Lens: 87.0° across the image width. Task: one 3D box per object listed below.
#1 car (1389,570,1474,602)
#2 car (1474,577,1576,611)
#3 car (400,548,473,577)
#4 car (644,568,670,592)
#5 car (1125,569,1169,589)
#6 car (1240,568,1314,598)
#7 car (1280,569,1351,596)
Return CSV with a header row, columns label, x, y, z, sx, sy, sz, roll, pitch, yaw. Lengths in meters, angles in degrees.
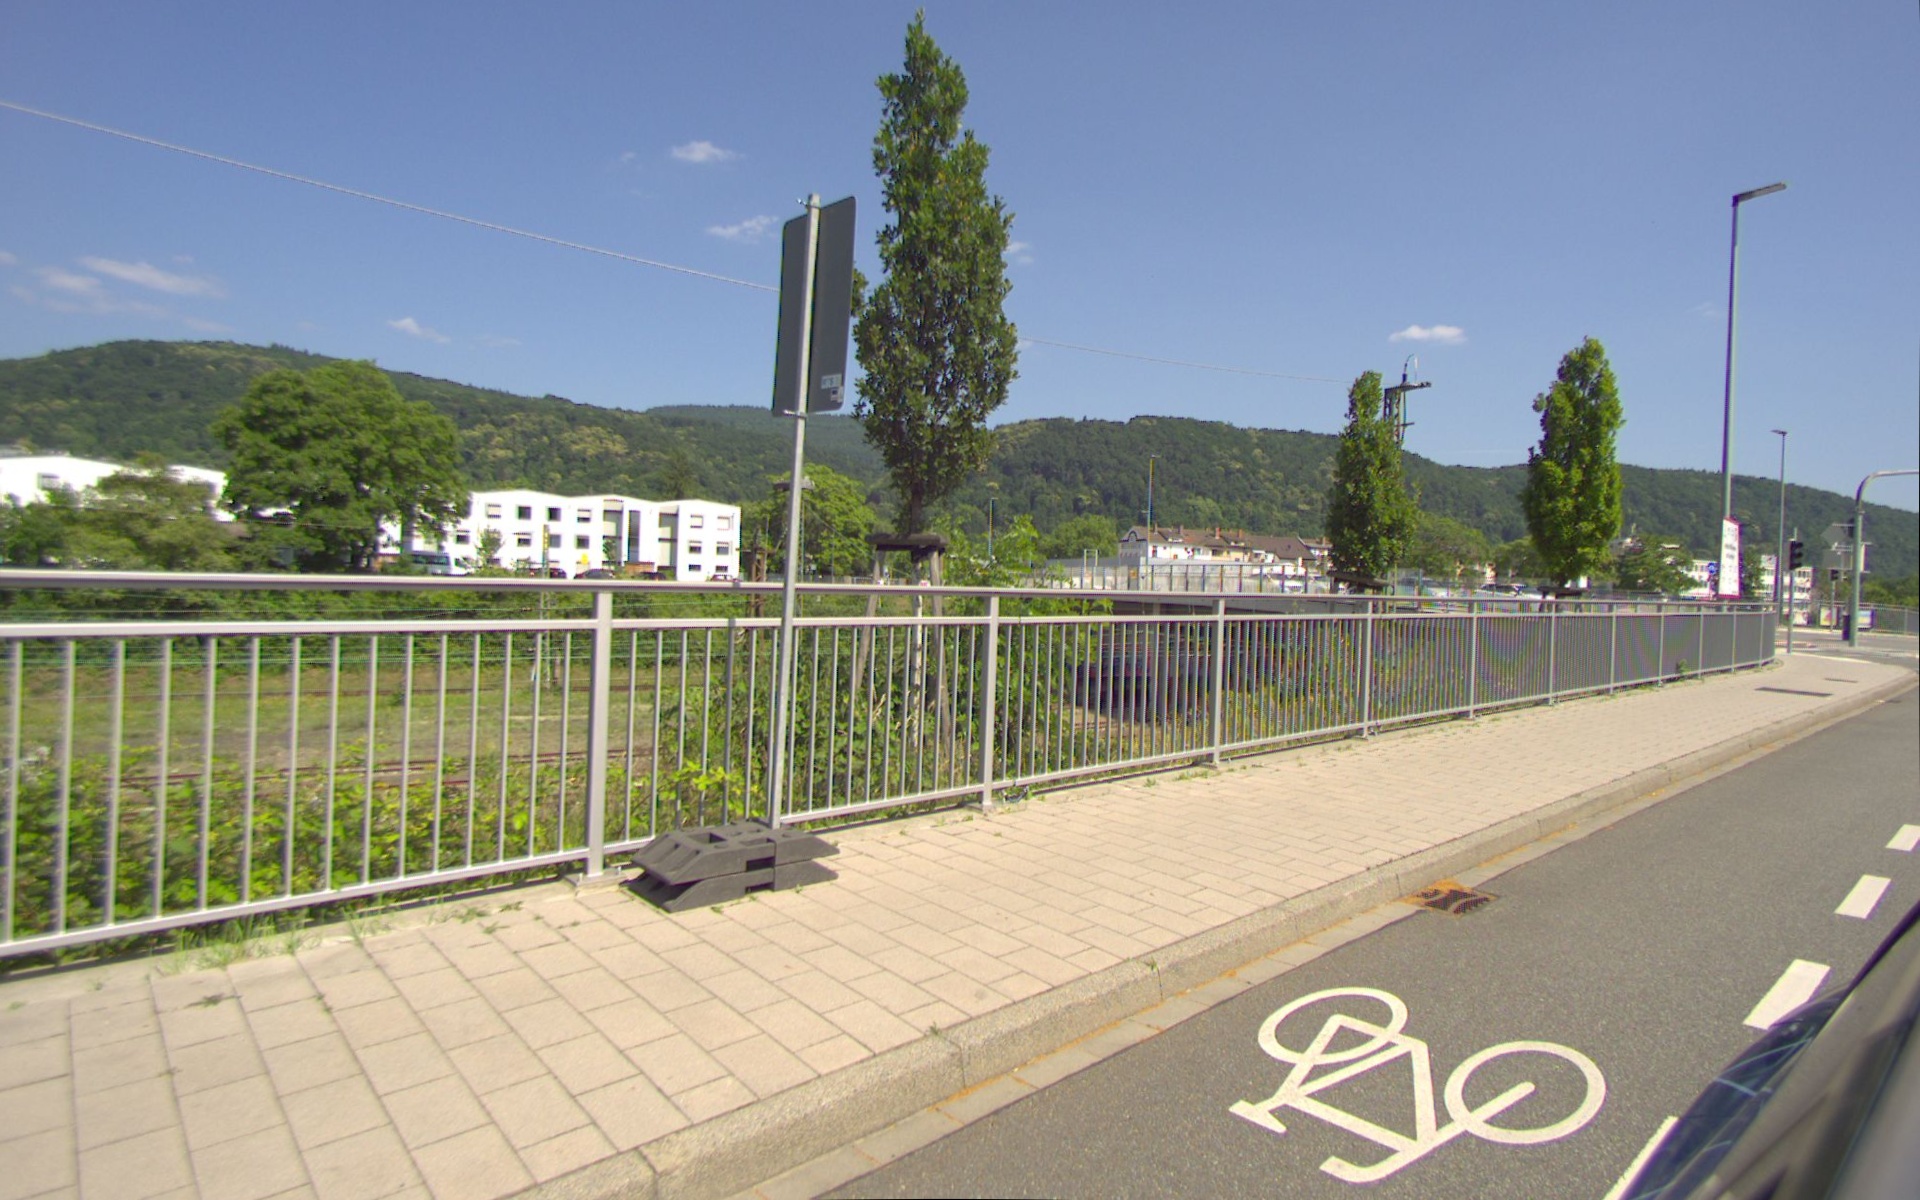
label,x,y,z,sx,sy,sz,roll,pitch,yaw
car,26.358,-0.819,56.709,1.700,1.646,4.453,2,1,-18
car,28.028,-0.330,50.346,1.700,1.487,4.421,2,1,-18
car,-41.905,-2.975,80.992,4.898,2.139,2.000,1,1,-37
car,-27.489,-1.850,91.785,1.958,2.038,4.481,1,1,-20
car,16.403,-1.825,88.769,1.700,1.646,4.452,1,1,-21
car,19.939,-1.080,63.862,1.958,1.740,4.644,1,1,-20
car,22.930,-1.151,65.394,1.700,1.646,4.452,2,1,-23
